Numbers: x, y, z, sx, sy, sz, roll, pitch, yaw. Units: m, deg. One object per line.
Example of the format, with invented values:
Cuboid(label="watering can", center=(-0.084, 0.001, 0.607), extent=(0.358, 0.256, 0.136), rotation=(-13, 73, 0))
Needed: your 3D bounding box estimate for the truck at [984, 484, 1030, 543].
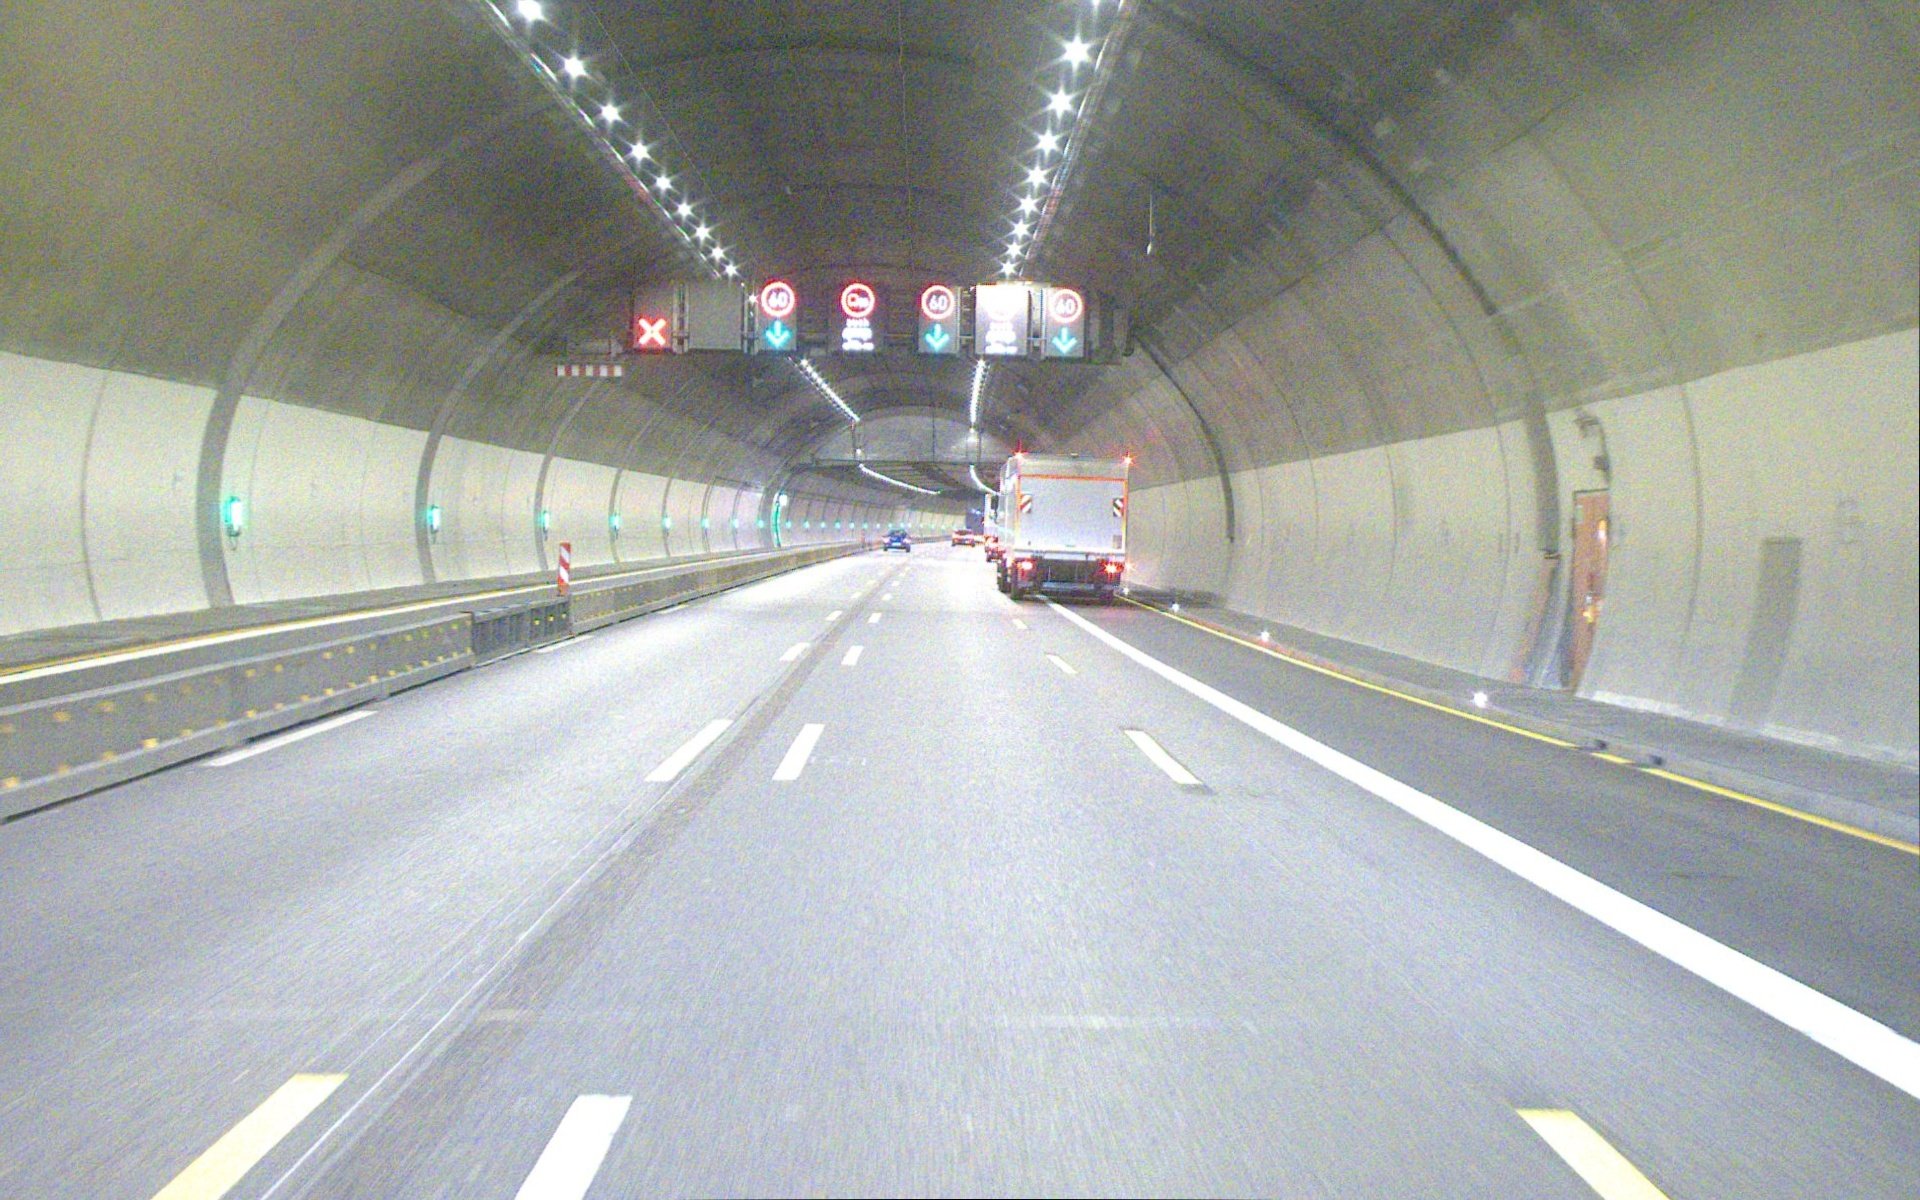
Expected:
Cuboid(label="truck", center=(3.323, -6.008, 239.995), extent=(3.066, 3.904, 10.368), rotation=(1, 1, 1))

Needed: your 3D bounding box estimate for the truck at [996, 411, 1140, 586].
Cuboid(label="truck", center=(2.484, -2.339, 82.667), extent=(3.092, 3.904, 10.368), rotation=(1, 1, 0))

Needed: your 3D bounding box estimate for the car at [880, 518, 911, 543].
Cuboid(label="car", center=(-3.916, -4.234, 208.410), extent=(1.758, 1.456, 4.119), rotation=(1, 2, 0))

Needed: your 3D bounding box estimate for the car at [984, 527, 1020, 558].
Cuboid(label="car", center=(2.089, -2.888, 171.697), extent=(1.739, 1.456, 3.960), rotation=(1, 2, 1))
